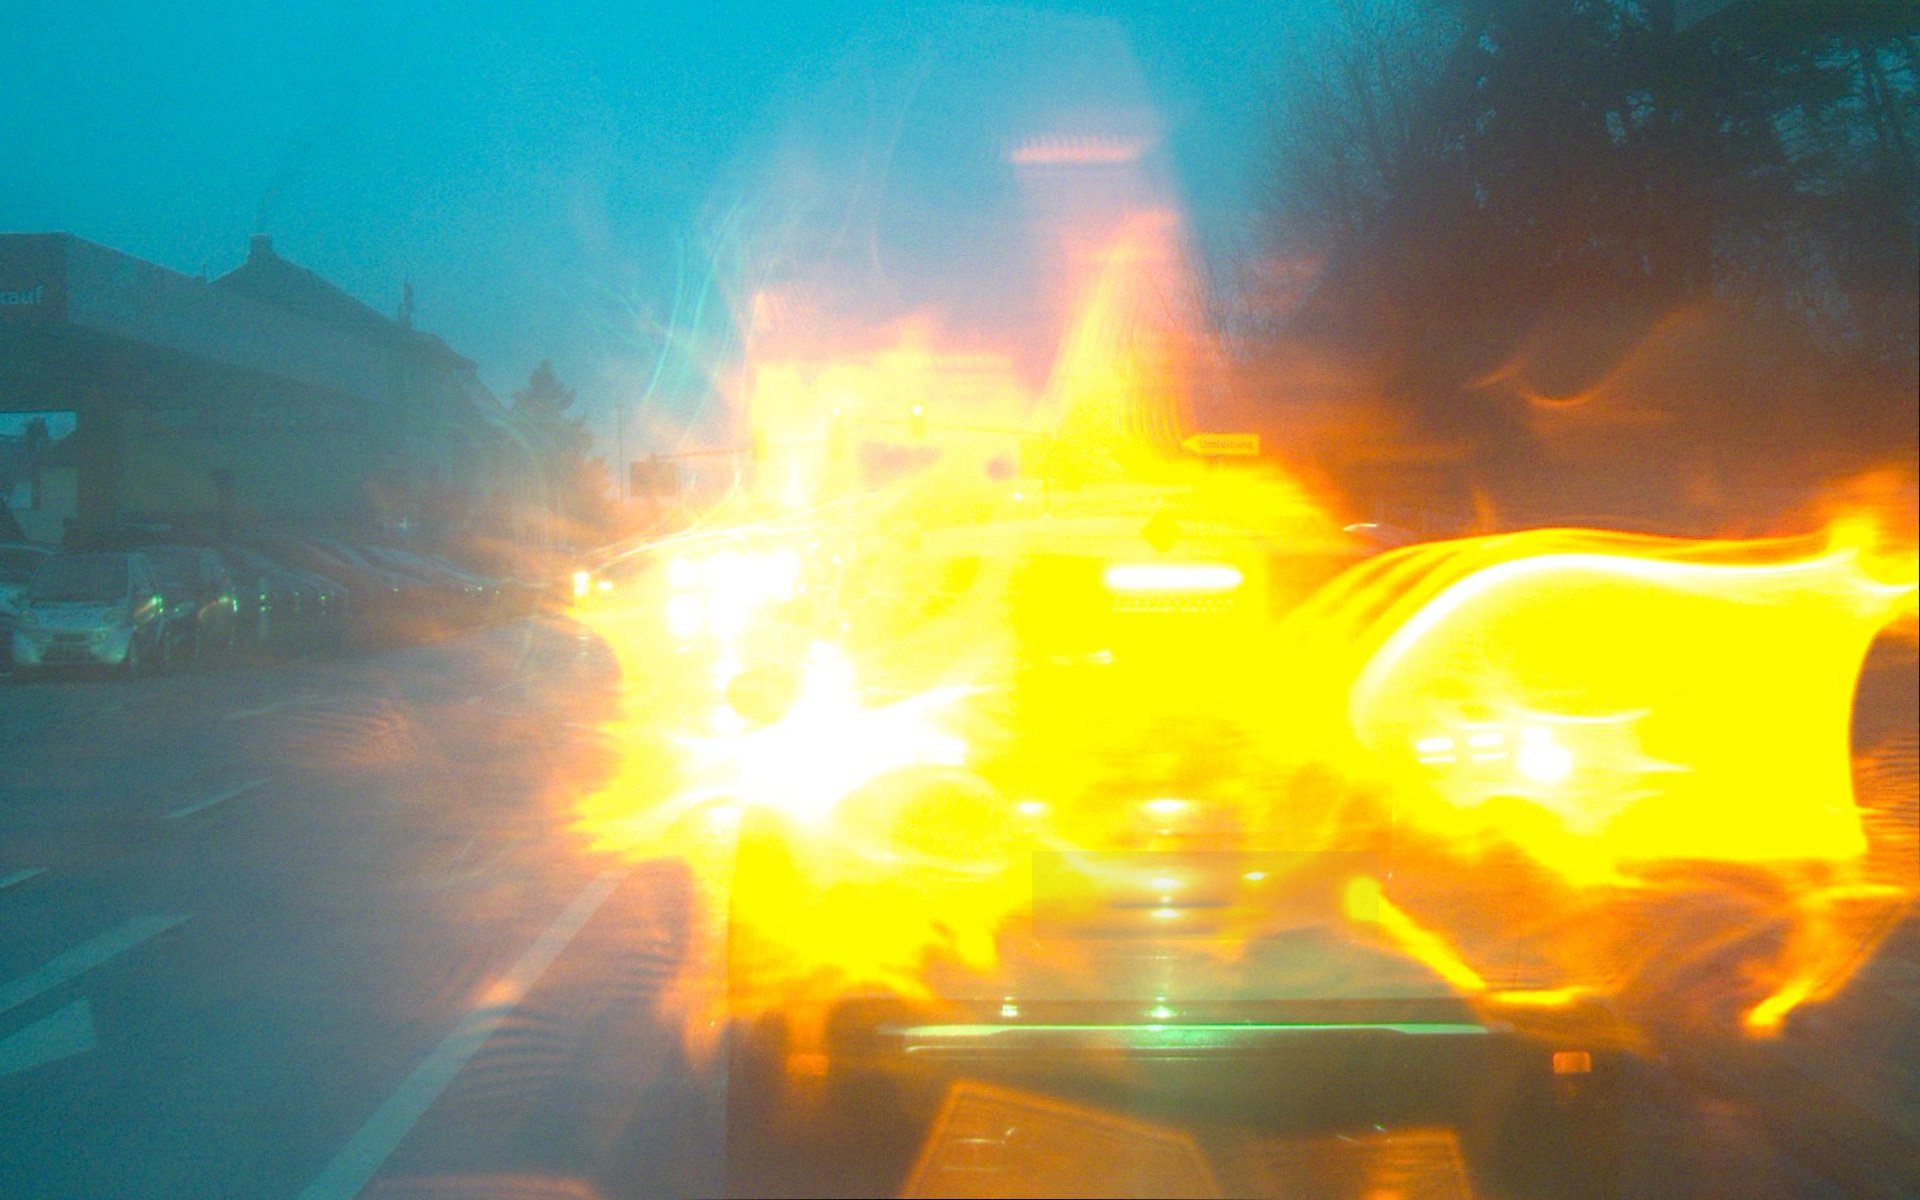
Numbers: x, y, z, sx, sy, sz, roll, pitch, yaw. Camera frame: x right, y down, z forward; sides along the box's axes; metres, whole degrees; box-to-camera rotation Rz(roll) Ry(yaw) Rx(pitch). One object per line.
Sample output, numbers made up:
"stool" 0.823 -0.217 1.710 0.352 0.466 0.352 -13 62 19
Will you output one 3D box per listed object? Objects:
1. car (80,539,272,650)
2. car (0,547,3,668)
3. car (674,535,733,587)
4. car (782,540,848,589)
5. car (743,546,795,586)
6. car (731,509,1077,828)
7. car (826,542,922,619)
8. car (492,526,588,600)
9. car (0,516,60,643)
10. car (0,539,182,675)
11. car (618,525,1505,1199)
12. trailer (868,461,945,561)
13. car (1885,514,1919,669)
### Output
"car" -10.547 -0.103 46.495 1.682 1.416 3.740 -1 1 1
"car" -13.455 0.089 40.756 3.771 1.454 1.776 1 1 -3
"car" -7.987 -1.234 107.463 1.603 1.529 4.000 -2 1 -2
"car" -4.902 -1.196 115.638 2.047 1.567 4.704 -2 1 -4
"car" -8.814 -1.588 158.807 1.993 1.740 4.000 -2 1 2
"car" -0.306 0.295 19.376 1.708 1.570 4.464 -1 1 -1
"car" -1.524 -0.380 61.808 1.653 1.331 4.272 0 1 -1
"car" -10.964 -0.985 90.026 1.970 1.824 4.513 -2 1 -1
"car" -14.273 -0.263 45.752 4.047 1.644 1.942 -1 1 1
"car" -10.610 0.056 42.078 1.518 1.537 3.015 -2 1 -1
"car" 0.156 0.595 8.076 1.565 1.524 4.007 0 1 -1
"trailer" -1.880 -2.956 117.176 2.488 3.229 10.869 0 1 -2
"car" 11.933 -0.135 36.632 4.471 1.603 2.018 -2 1 -44
